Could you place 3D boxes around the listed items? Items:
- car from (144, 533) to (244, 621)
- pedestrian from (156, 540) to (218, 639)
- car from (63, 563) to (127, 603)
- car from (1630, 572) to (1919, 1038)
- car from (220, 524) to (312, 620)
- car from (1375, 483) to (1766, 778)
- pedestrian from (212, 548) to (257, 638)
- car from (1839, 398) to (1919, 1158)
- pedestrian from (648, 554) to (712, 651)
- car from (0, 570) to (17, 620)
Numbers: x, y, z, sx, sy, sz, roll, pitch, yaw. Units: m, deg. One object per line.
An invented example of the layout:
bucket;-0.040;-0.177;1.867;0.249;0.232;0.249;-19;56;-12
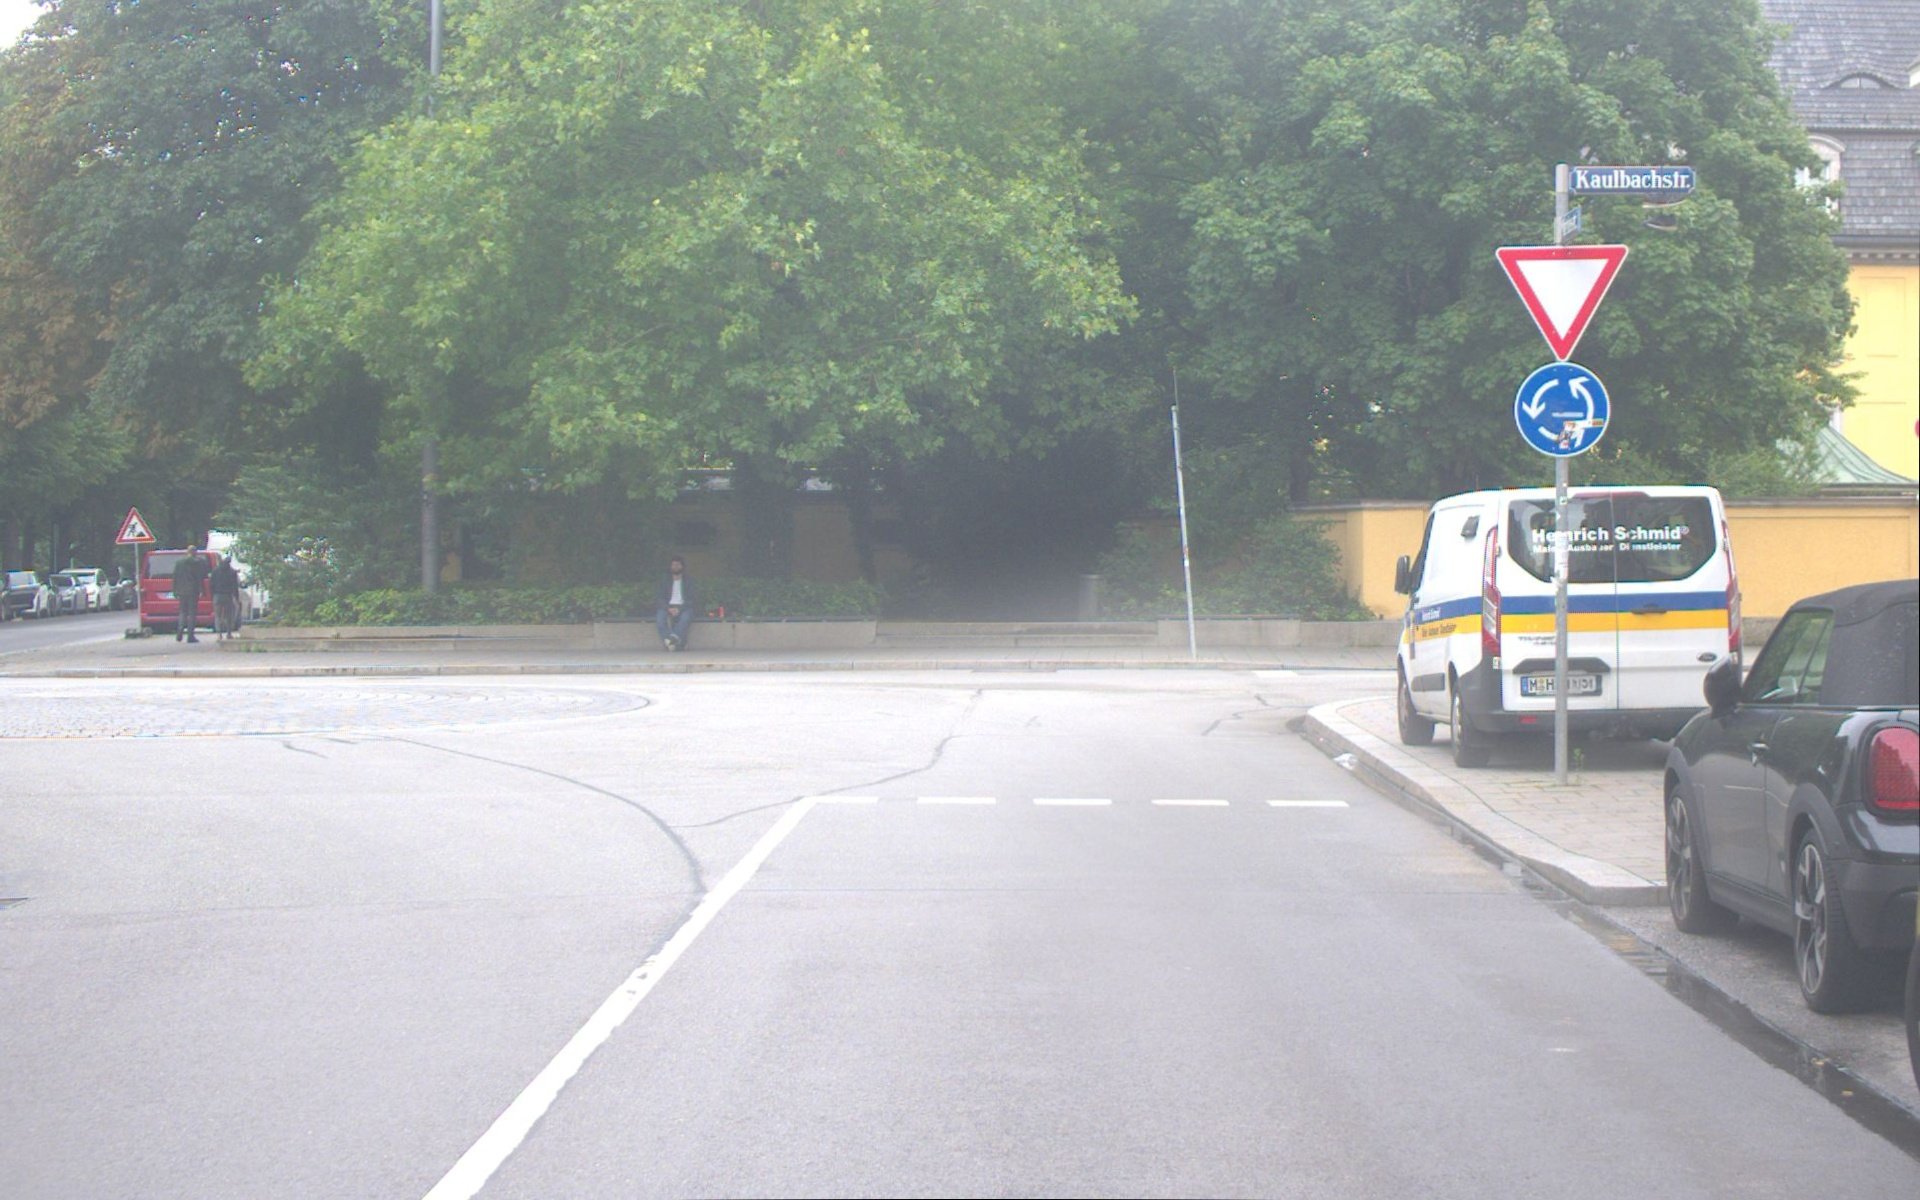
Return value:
car;-17.416;-0.526;78.340;1.911;1.930;4.970;0;1;-9
pedestrian;-14.493;-0.198;64.433;0.820;1.830;0.952;-1;1;-34
car;-31.984;-0.642;127.175;1.993;1.481;4.130;0;1;-10
car;3.672;0.630;12.729;1.712;1.440;3.827;0;1;1
car;-19.005;-0.774;94.302;1.993;2.549;5.431;0;1;-7
car;4.385;0.161;25.549;1.938;1.915;5.375;-1;1;0
pedestrian;-13.531;-0.127;64.149;0.633;1.661;0.697;-1;1;-29
car;3.328;0.459;7.304;1.994;1.912;4.570;0;1;4
pedestrian;-3.958;0.031;48.653;0.769;1.352;1.131;0;1;2
car;-30.032;-0.168;104.906;1.993;1.481;4.130;0;1;-10
